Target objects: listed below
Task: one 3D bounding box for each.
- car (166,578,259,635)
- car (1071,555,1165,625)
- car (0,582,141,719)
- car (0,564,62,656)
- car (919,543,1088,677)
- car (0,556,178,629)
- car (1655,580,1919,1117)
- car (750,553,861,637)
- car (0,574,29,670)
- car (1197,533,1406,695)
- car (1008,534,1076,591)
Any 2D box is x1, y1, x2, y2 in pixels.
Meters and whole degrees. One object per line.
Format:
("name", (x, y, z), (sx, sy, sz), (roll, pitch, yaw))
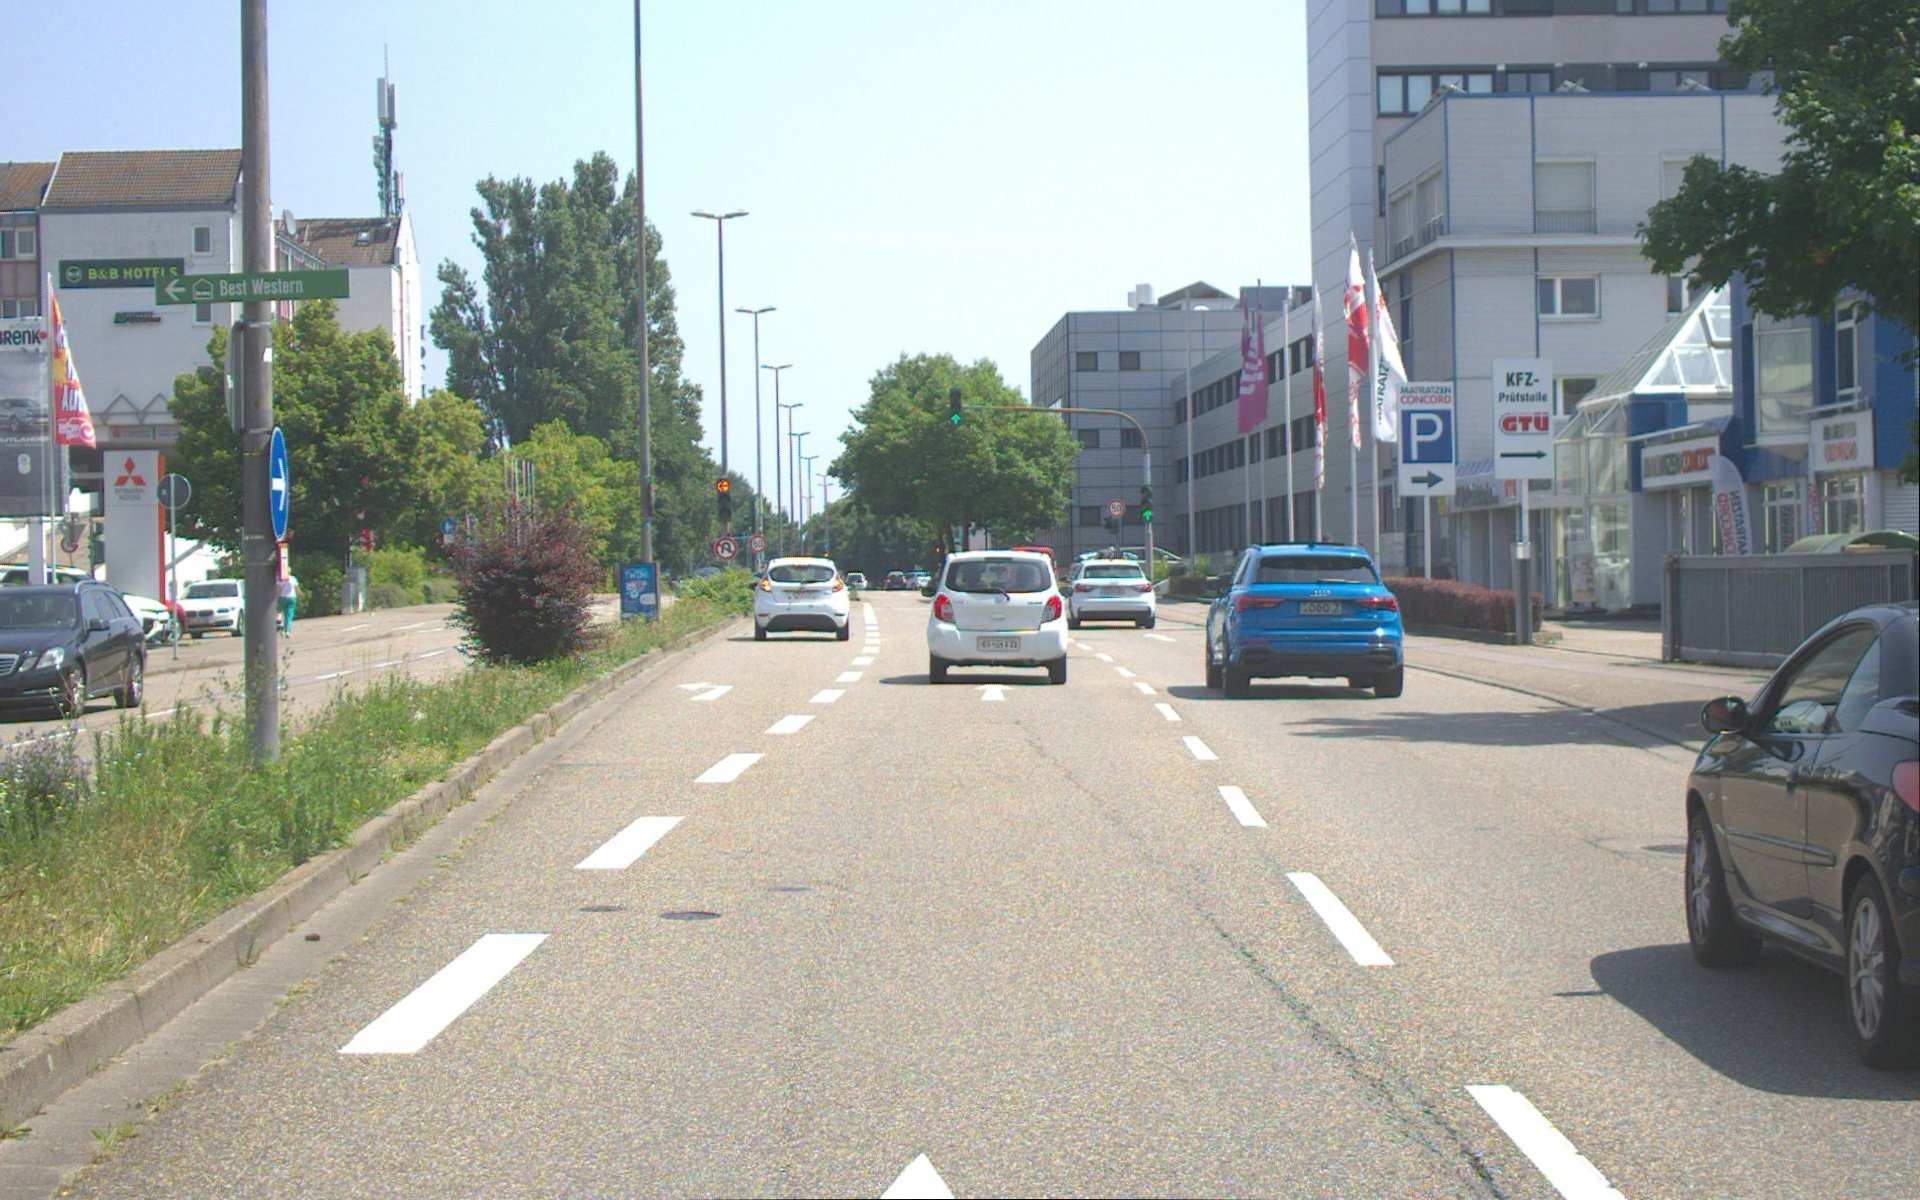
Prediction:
("car", (-18.860, 0.176, 86.841), (1.901, 1.349, 4.000), (0, -1, -7))
("car", (3.237, -0.223, 70.913), (1.667, 1.394, 3.793), (-1, 1, -1))
("car", (-10.561, 0.549, 38.441), (1.897, 1.383, 4.067), (-2, 1, -2))
("car", (-19.436, 0.194, 65.912), (3.986, 1.725, 1.908), (1, -2, -27))
("car", (0.476, 0.110, 40.494), (1.712, 1.505, 3.247), (0, 0, -4))
("car", (-19.187, -0.156, 74.649), (3.987, 1.547, 1.865), (0, -1, 1))
("car", (3.398, 0.665, 11.096), (1.600, 1.420, 3.661), (0, 1, 1))
("car", (-2.735, -0.062, 61.583), (1.830, 1.445, 4.000), (0, -1, -1))
("car", (-18.800, 0.392, 61.163), (3.986, 1.678, 2.000), (0, -1, -4))
("car", (3.584, 0.099, 36.771), (1.913, 1.591, 4.395), (0, 1, 2))
("car", (2.596, -1.162, 109.087), (1.794, 1.723, 3.973), (0, -1, -4))
